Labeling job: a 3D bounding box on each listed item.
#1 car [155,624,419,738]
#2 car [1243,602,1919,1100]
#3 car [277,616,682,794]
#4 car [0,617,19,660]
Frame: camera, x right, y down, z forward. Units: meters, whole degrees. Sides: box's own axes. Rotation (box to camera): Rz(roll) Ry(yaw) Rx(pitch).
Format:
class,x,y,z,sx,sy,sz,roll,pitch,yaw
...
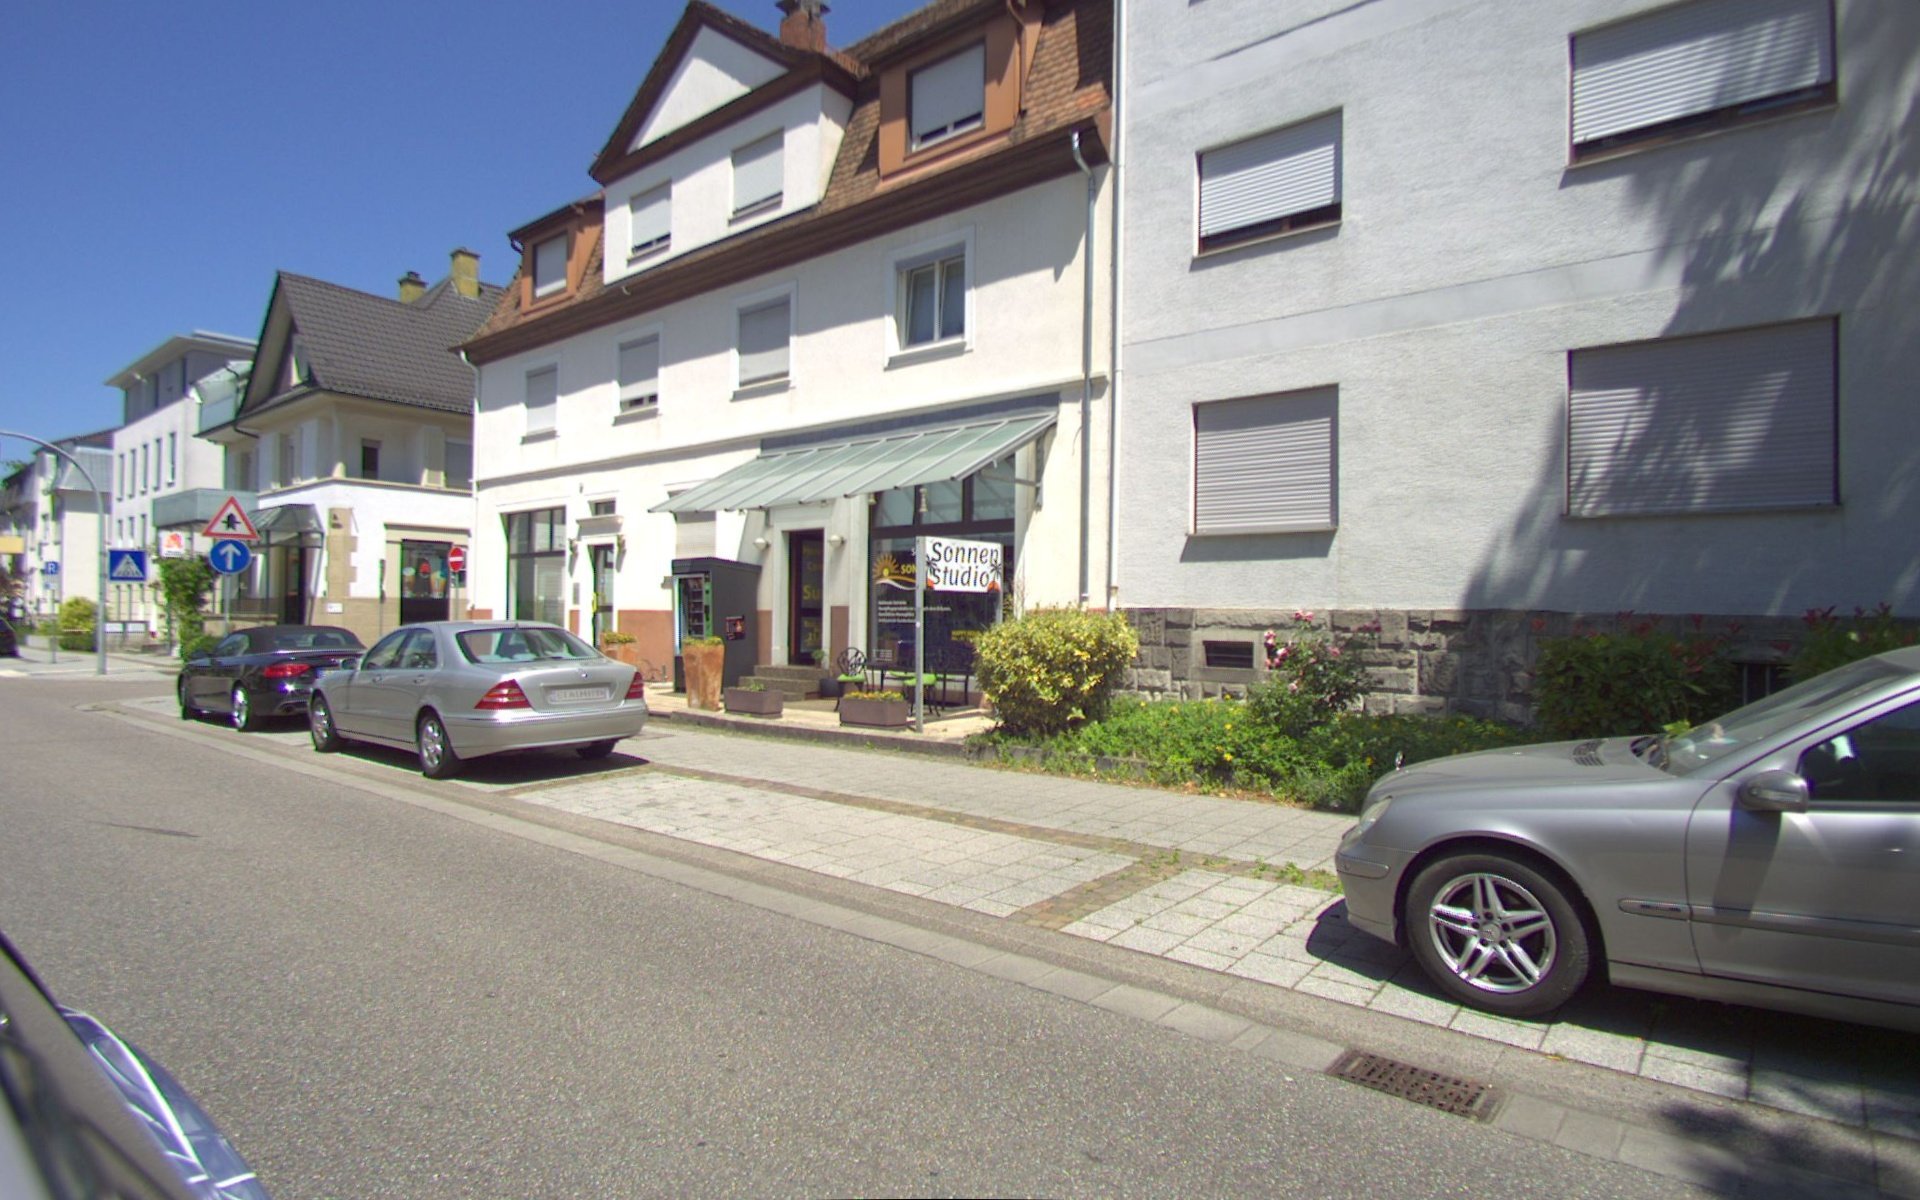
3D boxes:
class,x,y,z,sx,sy,sz,roll,pitch,yaw
car,-9.994,1.052,14.858,5.094,1.384,1.922,-1,-1,41
car,3.702,0.738,3.528,4.863,1.463,1.961,-1,-1,39
car,-5.383,0.918,10.920,5.354,1.463,1.961,-1,-1,41
car,-35.742,1.395,36.614,5.146,1.463,1.897,-1,1,41
